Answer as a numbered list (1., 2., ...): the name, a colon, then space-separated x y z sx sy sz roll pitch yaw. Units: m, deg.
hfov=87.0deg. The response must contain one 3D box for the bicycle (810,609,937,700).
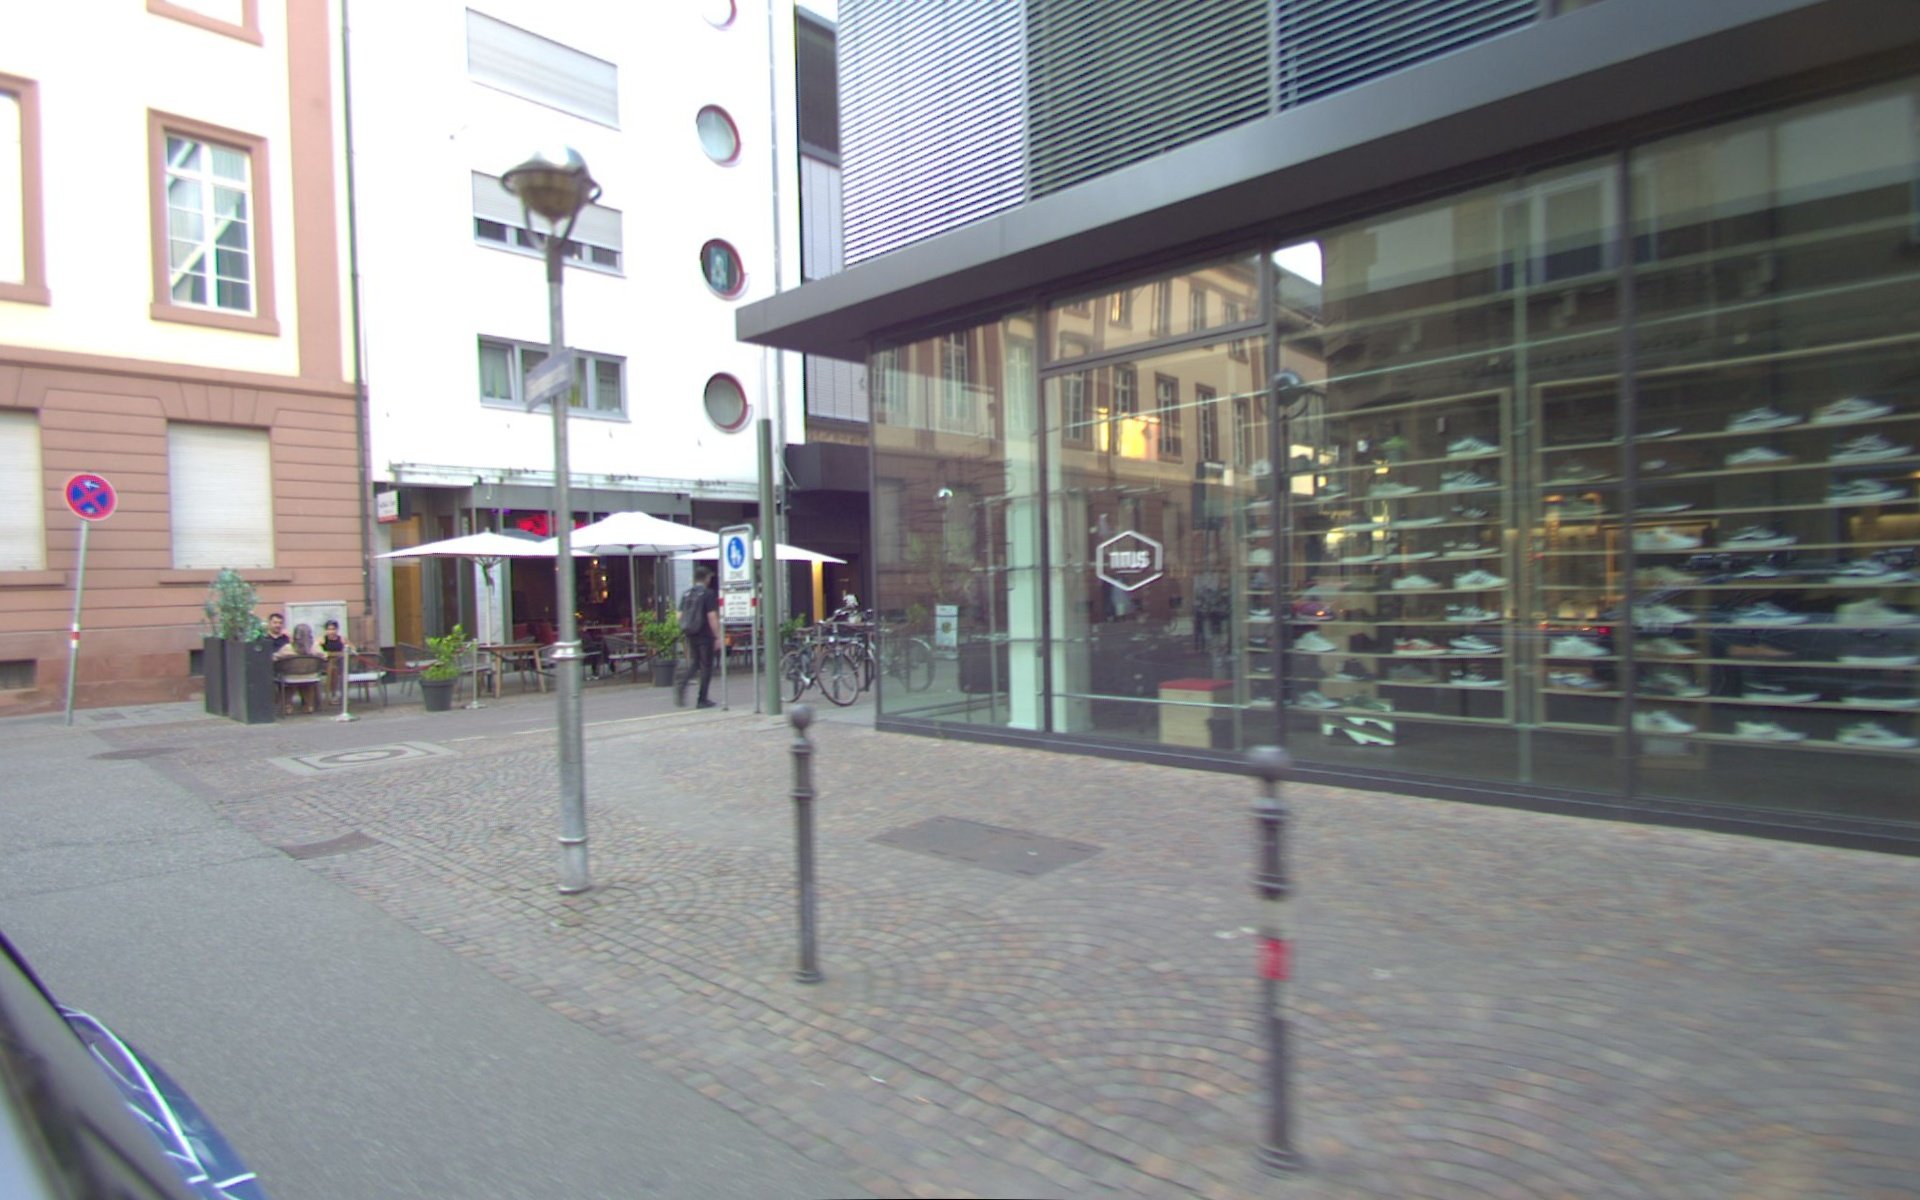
1. bicycle: -1.216 0.750 13.966 1.841 1.159 0.601 -3 -1 42

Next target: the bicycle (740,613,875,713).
1. bicycle: -1.888 0.763 12.417 1.673 1.121 0.700 -3 -1 42

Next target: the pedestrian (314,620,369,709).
1. pedestrian: -8.888 0.912 14.548 0.524 1.220 0.541 -1 1 45

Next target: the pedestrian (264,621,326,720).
1. pedestrian: -8.544 0.889 12.996 0.461 1.221 0.554 -1 1 45

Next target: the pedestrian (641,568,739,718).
1. pedestrian: -3.381 0.515 12.742 0.734 1.798 0.963 -2 0 19

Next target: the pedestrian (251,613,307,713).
1. pedestrian: -9.547 0.867 14.190 0.489 1.359 0.541 -1 0 45

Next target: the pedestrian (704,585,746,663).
1. pedestrian: -5.126 0.518 22.095 0.619 1.678 0.667 -2 0 15
